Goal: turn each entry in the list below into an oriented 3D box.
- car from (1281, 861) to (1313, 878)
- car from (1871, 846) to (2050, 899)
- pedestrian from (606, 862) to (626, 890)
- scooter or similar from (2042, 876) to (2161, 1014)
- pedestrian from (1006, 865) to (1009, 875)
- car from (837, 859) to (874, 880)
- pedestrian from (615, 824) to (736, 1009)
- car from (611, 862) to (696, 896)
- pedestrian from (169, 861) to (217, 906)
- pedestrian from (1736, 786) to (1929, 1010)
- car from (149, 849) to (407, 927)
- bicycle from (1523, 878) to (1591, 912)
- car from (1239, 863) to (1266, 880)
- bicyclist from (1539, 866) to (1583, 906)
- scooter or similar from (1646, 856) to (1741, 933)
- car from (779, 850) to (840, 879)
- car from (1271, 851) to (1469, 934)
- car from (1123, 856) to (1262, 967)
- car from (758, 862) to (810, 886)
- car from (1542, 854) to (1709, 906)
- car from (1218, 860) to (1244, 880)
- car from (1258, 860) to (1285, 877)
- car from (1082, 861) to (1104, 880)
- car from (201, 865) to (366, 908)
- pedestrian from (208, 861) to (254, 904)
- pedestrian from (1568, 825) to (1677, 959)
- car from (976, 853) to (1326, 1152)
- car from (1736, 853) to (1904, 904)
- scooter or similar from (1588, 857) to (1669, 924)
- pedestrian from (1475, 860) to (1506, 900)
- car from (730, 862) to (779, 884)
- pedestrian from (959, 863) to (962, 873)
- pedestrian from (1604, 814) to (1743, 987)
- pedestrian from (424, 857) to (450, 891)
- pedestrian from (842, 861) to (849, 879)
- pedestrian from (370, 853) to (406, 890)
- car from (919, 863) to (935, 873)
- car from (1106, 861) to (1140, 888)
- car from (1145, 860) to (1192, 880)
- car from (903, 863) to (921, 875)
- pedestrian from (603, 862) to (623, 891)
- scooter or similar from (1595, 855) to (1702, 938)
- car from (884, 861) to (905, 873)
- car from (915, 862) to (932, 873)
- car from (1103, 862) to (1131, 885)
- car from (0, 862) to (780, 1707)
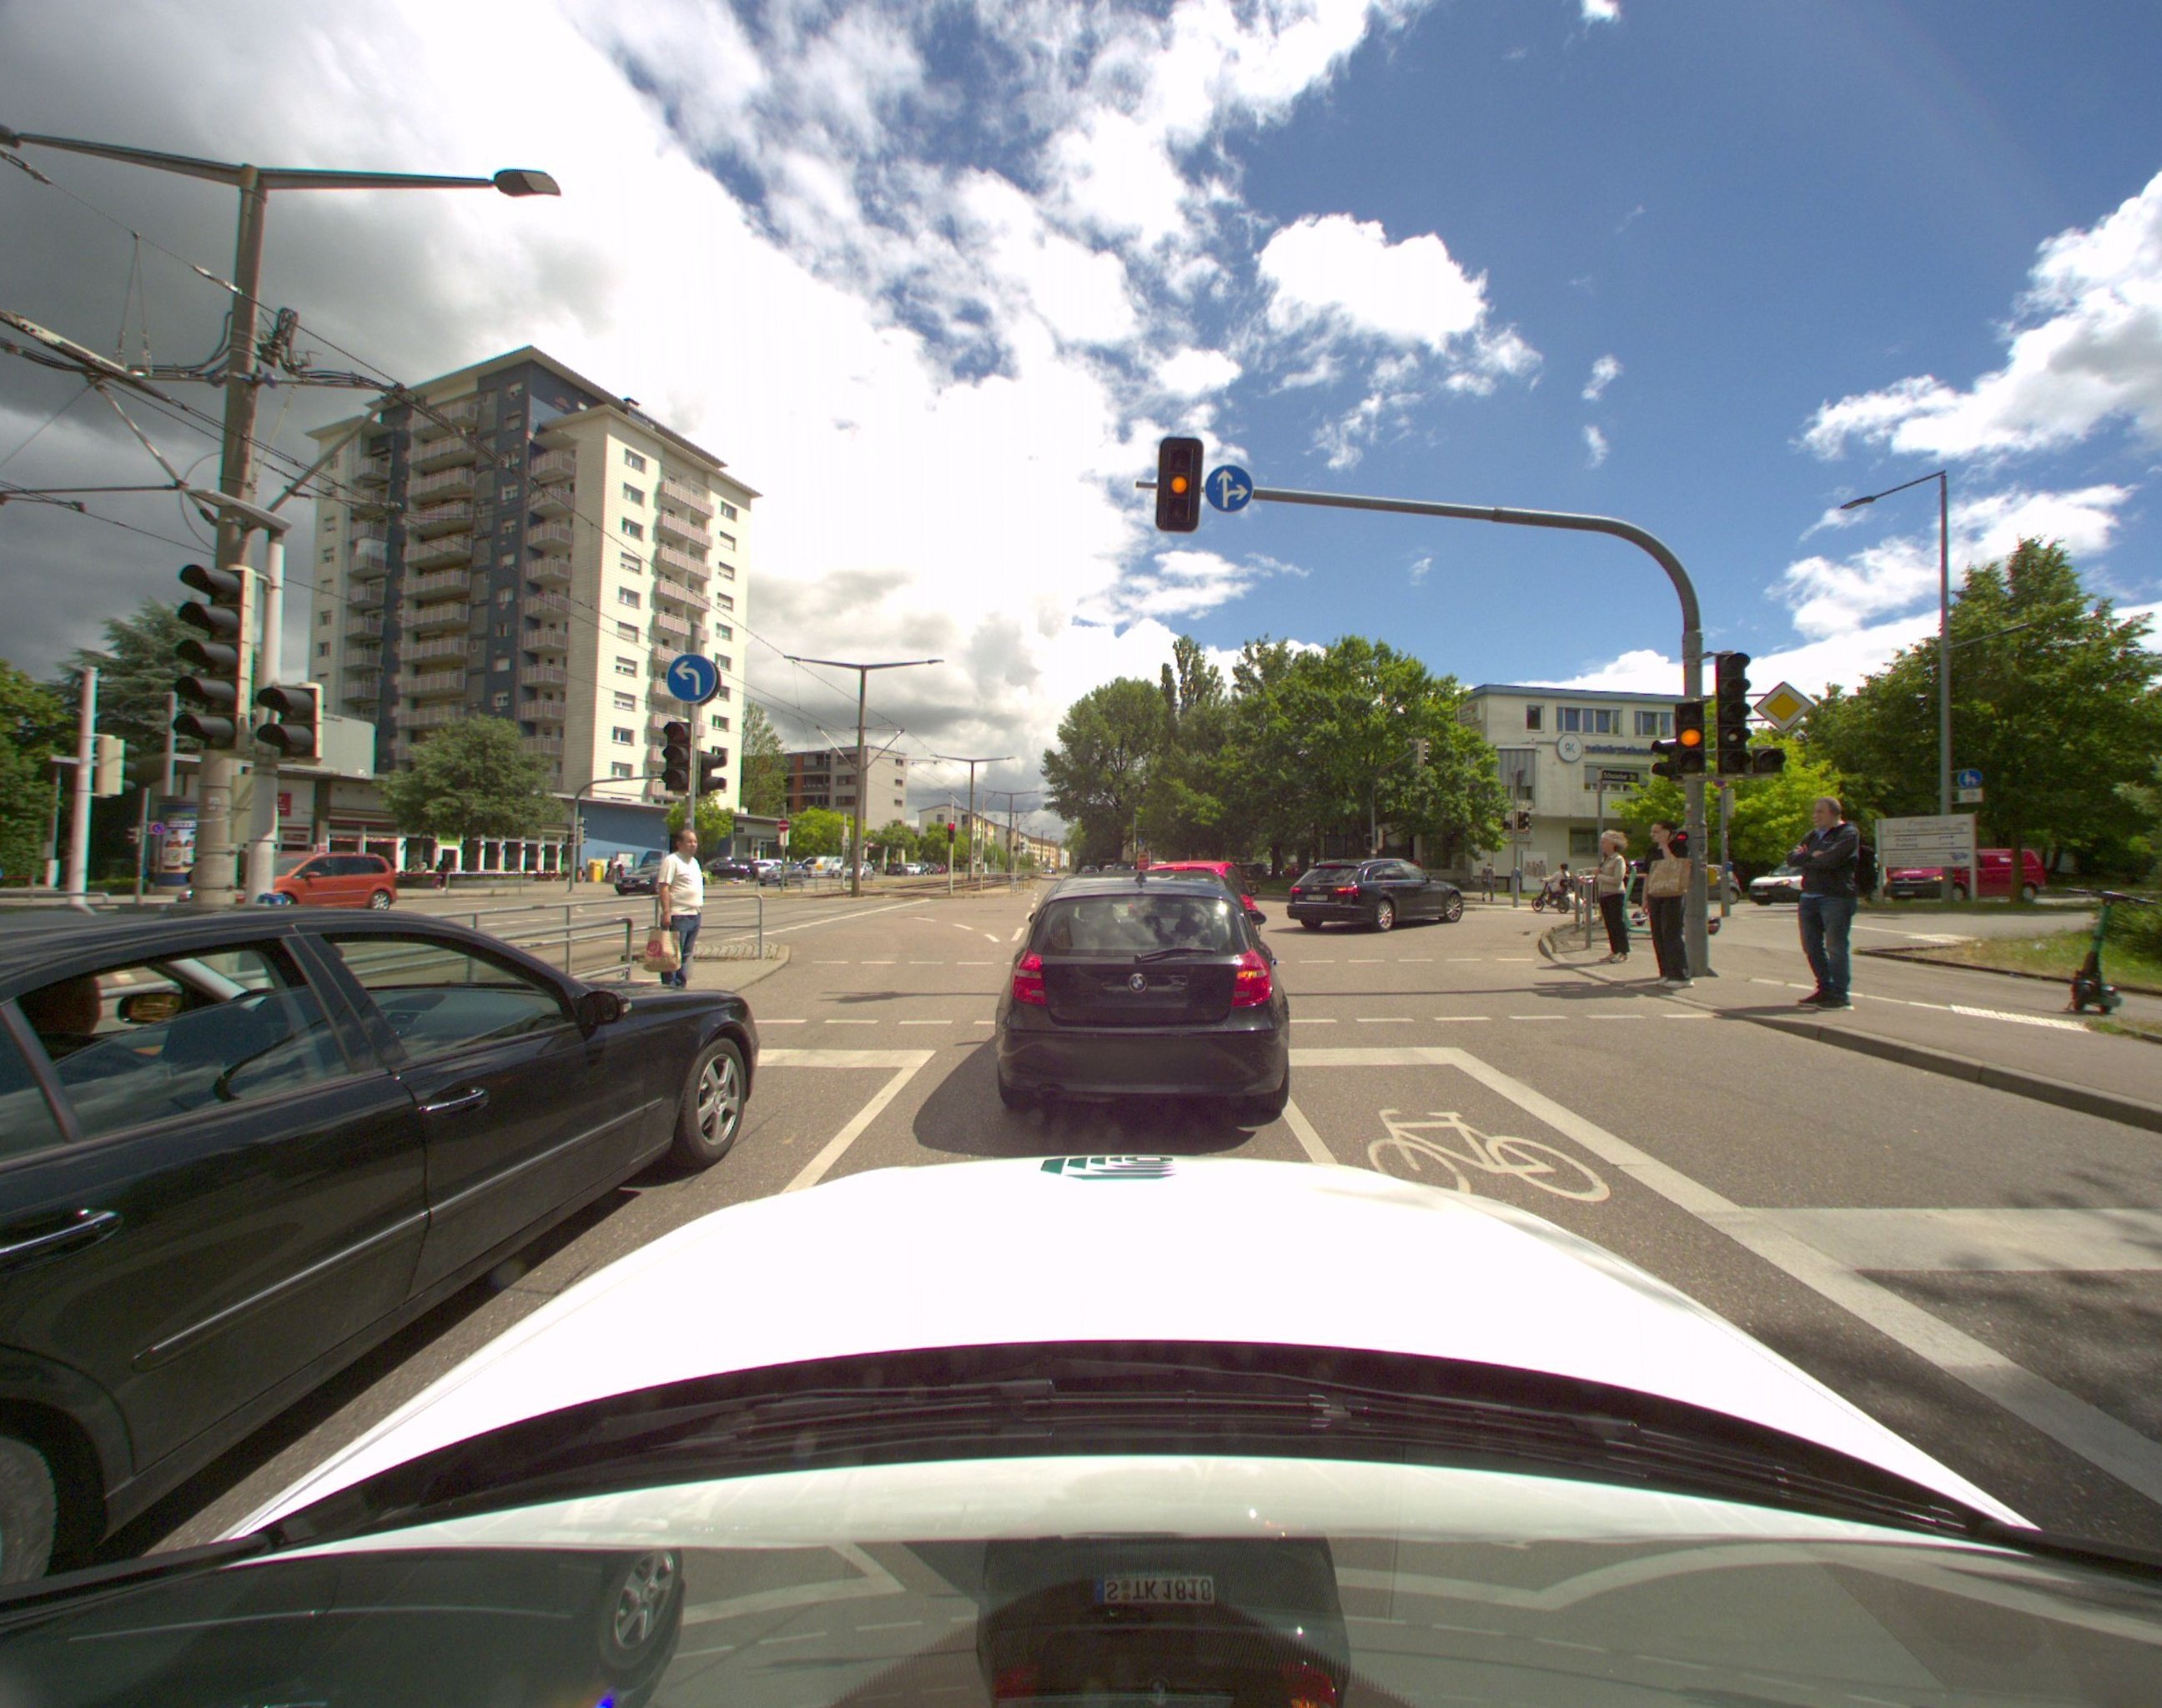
[{"bbox_3d":[20.951,1.514,79.022,1.728,1.595,3.992,0,0,-5],"label":"car"},{"bbox_3d":[31.889,0.670,29.603,4.800,1.864,1.995,0,-2,-8],"label":"car"},{"bbox_3d":[-28.213,1.304,49.413,0.949,1.659,1.090,0,-1,-25],"label":"pedestrian"},{"bbox_3d":[10.621,0.927,8.473,1.247,1.275,0.709,6,-1,-38],"label":"scooter or similar"},{"bbox_3d":[-11.754,2.555,130.312,0.477,1.637,0.454,0,-1,1],"label":"pedestrian"},{"bbox_3d":[-18.898,1.261,68.502,1.929,1.693,3.874,0,0,2],"label":"car"},{"bbox_3d":[-4.124,0.608,8.344,0.866,1.808,0.741,0,0,-2],"label":"pedestrian"},{"bbox_3d":[-19.511,1.115,37.381,1.624,1.414,4.254,-1,0,1],"label":"car"},{"bbox_3d":[-33.550,1.090,30.774,0.957,1.659,1.002,-1,-1,28],"label":"pedestrian"},{"bbox_3d":[6.892,0.383,7.527,0.963,1.942,0.896,0,0,-3],"label":"pedestrian"},{"bbox_3d":[-19.382,0.742,20.022,1.989,1.635,4.456,-2,0,-3],"label":"car"},{"bbox_3d":[12.700,1.079,21.790,0.789,0.819,1.808,0,0,0],"label":"bicycle"},{"bbox_3d":[16.299,1.632,77.441,1.626,1.573,4.030,0,0,-1],"label":"car"},{"bbox_3d":[12.696,0.835,21.562,0.789,1.022,0.636,0,-1,0],"label":"bicyclist"},{"bbox_3d":[10.363,0.679,13.785,1.225,1.240,0.555,2,0,-7],"label":"scooter or similar"},{"bbox_3d":[-24.326,0.915,72.728,2.848,2.478,6.642,0,0,-41],"label":"car"},{"bbox_3d":[6.282,0.740,17.451,4.544,1.554,1.976,0,-1,-40],"label":"car"},{"bbox_3d":[1.800,0.749,12.329,1.529,1.441,3.211,0,0,18],"label":"car"},{"bbox_3d":[-18.714,1.247,51.494,1.630,1.399,4.492,0,-1,0],"label":"car"},{"bbox_3d":[18.635,0.857,27.981,4.551,1.717,1.996,0,0,-5],"label":"car"},{"bbox_3d":[14.055,1.507,76.446,1.626,1.811,4.030,0,0,-1],"label":"car"},{"bbox_3d":[18.340,1.415,78.685,1.626,1.595,3.998,0,0,-1],"label":"car"},{"bbox_3d":[1.191,1.558,77.228,1.986,1.684,4.002,0,0,2],"label":"car"},{"bbox_3d":[-27.686,1.089,28.481,4.021,1.398,1.678,1,-2,-41],"label":"car"},{"bbox_3d":[-33.113,1.095,31.748,0.957,1.659,1.002,-1,-1,28],"label":"pedestrian"},{"bbox_3d":[7.086,0.487,10.708,0.945,1.674,0.874,-1,-1,17],"label":"pedestrian"},{"bbox_3d":[0.420,0.740,6.072,1.746,1.487,4.002,0,0,2],"label":"car"},{"bbox_3d":[26.291,0.828,29.046,4.555,1.717,1.995,0,0,-8],"label":"car"},{"bbox_3d":[9.882,0.660,14.700,1.360,1.156,0.540,1,0,-23],"label":"scooter or similar"},{"bbox_3d":[17.099,1.086,34.004,0.907,1.643,0.765,0,-1,-20],"label":"pedestrian"},{"bbox_3d":[-24.540,1.413,61.174,4.165,1.570,1.973,0,0,45],"label":"car"},{"bbox_3d":[-20.833,2.392,140.720,0.451,1.637,0.480,0,-1,-1],"label":"pedestrian"},{"bbox_3d":[6.404,0.470,8.838,0.933,1.765,0.770,-1,0,-10],"label":"pedestrian"},{"bbox_3d":[-31.444,0.965,39.767,0.767,1.615,0.695,0,-1,-12],"label":"pedestrian"},{"bbox_3d":[-23.076,1.592,79.730,0.547,1.716,0.667,0,-1,-8],"label":"pedestrian"},{"bbox_3d":[-37.000,0.916,43.490,0.861,1.917,1.215,0,0,2],"label":"pedestrian"},{"bbox_3d":[-21.295,1.952,112.863,1.758,1.395,3.993,0,0,-5],"label":"car"},{"bbox_3d":[2.775,1.349,54.296,2.144,1.684,4.001,0,-1,2],"label":"car"},{"bbox_3d":[8.136,1.501,75.686,4.001,1.823,1.766,0,0,-21],"label":"car"},{"bbox_3d":[-21.069,1.845,101.707,1.758,1.395,3.993,0,0,-5],"label":"car"},{"bbox_3d":[-27.748,1.320,48.300,0.949,1.659,1.090,0,-1,-25],"label":"pedestrian"},{"bbox_3d":[8.974,0.657,12.915,1.336,1.277,0.463,0,1,8],"label":"scooter or similar"},{"bbox_3d":[-21.554,1.486,94.174,1.758,1.395,3.993,0,0,-5],"label":"car"},{"bbox_3d":[-20.959,1.810,108.287,1.758,1.395,3.993,0,0,-5],"label":"car"},{"bbox_3d":[2.717,1.442,61.751,1.986,1.684,4.001,0,-1,2],"label":"car"},{"bbox_3d":[-2.697,0.767,2.480,1.721,1.461,4.546,0,0,2],"label":"car"}]
